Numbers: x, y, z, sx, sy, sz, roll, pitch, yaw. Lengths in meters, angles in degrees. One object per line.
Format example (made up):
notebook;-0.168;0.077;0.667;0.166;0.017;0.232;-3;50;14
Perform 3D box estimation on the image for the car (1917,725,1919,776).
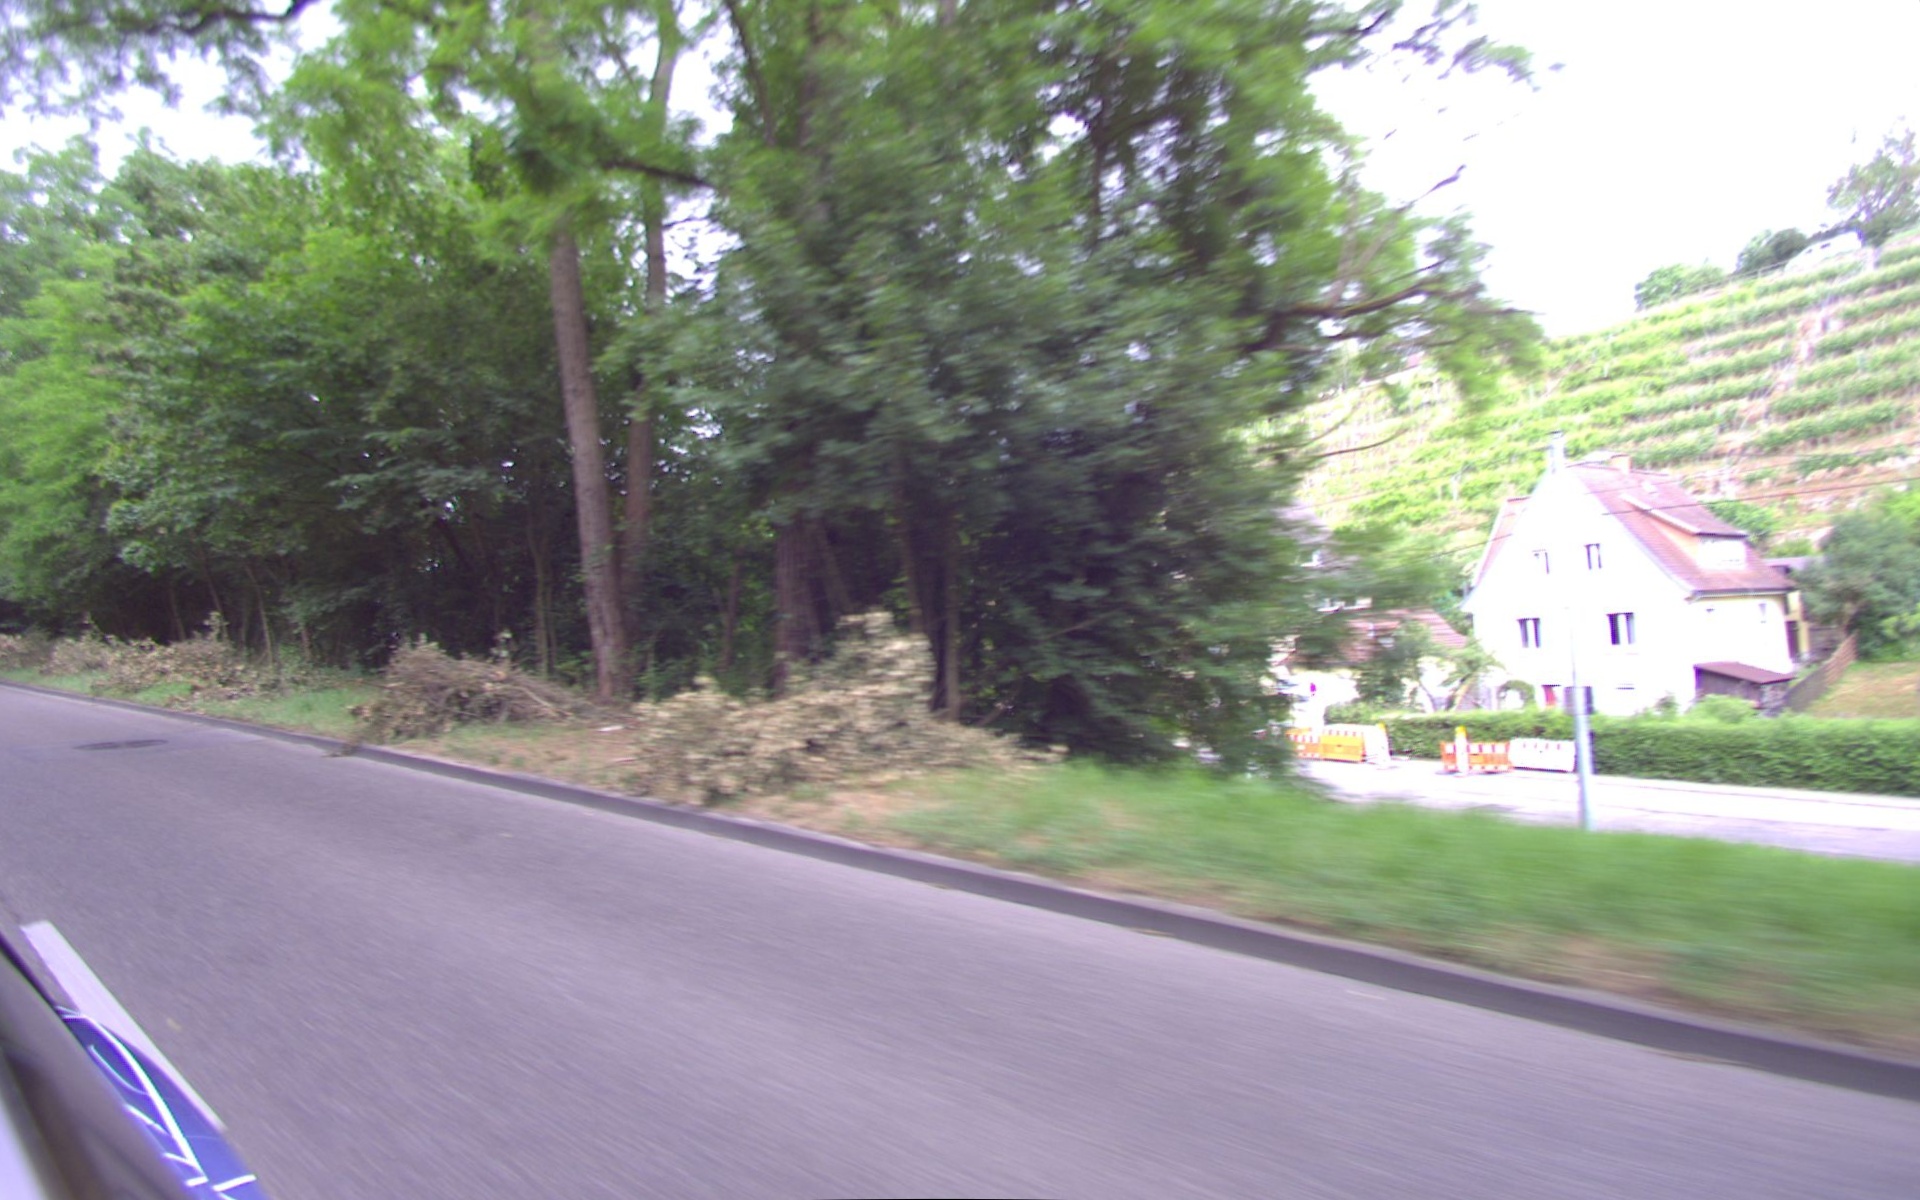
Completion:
car;27.901;4.096;26.398;1.729;1.400;4.007;4;-5;-8
